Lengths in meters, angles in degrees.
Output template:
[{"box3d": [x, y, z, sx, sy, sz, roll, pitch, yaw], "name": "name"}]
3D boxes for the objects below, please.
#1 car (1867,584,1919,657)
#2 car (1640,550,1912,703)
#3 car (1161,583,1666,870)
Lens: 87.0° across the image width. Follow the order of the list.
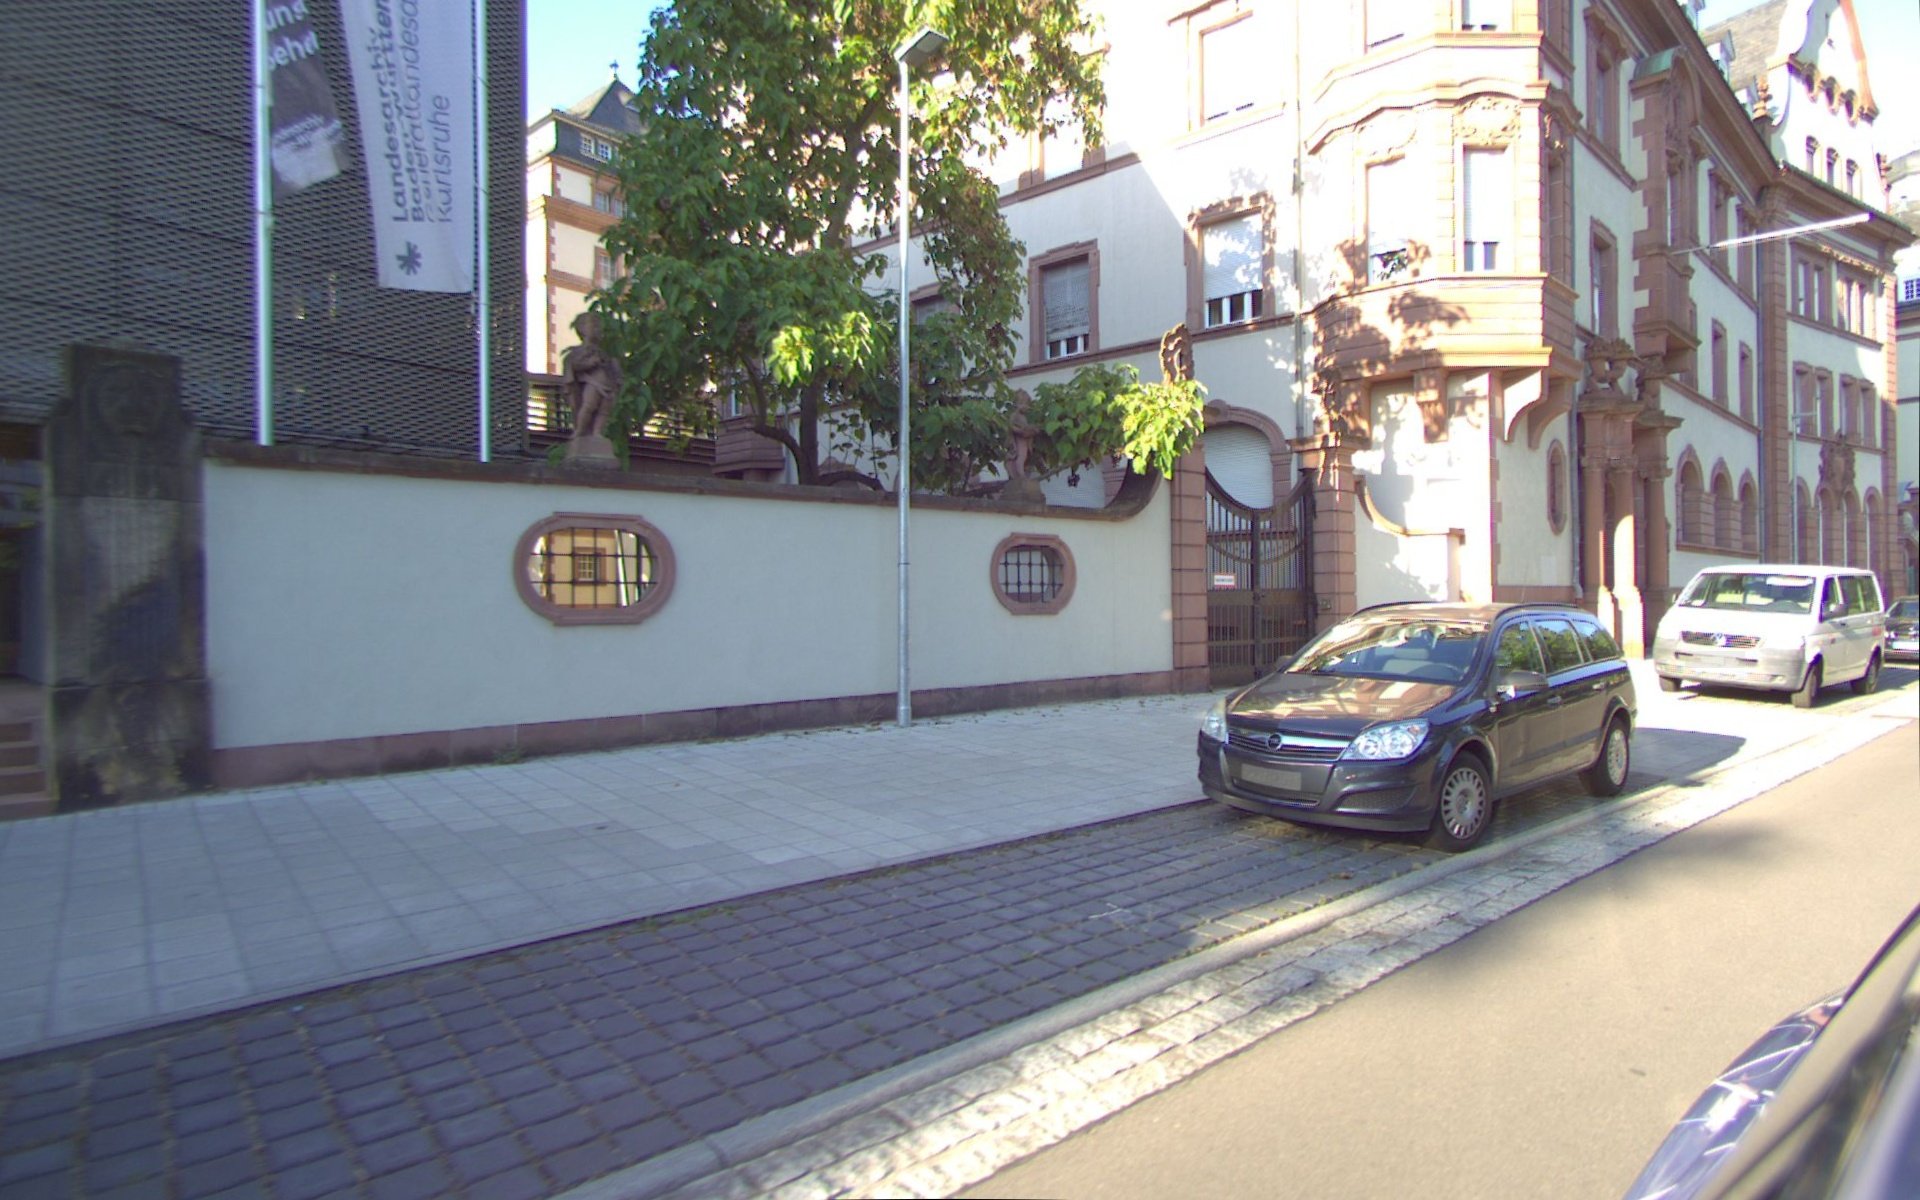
[{"box3d": [20.962, 0.400, 21.526, 4.122, 1.420, 1.684, -1, 3, -37], "name": "car"}, {"box3d": [12.576, 0.275, 15.510, 4.758, 1.990, 2.001, -1, 3, -36], "name": "car"}, {"box3d": [3.584, 0.652, 7.587, 4.399, 1.484, 1.751, -2, 2, -40], "name": "car"}]
